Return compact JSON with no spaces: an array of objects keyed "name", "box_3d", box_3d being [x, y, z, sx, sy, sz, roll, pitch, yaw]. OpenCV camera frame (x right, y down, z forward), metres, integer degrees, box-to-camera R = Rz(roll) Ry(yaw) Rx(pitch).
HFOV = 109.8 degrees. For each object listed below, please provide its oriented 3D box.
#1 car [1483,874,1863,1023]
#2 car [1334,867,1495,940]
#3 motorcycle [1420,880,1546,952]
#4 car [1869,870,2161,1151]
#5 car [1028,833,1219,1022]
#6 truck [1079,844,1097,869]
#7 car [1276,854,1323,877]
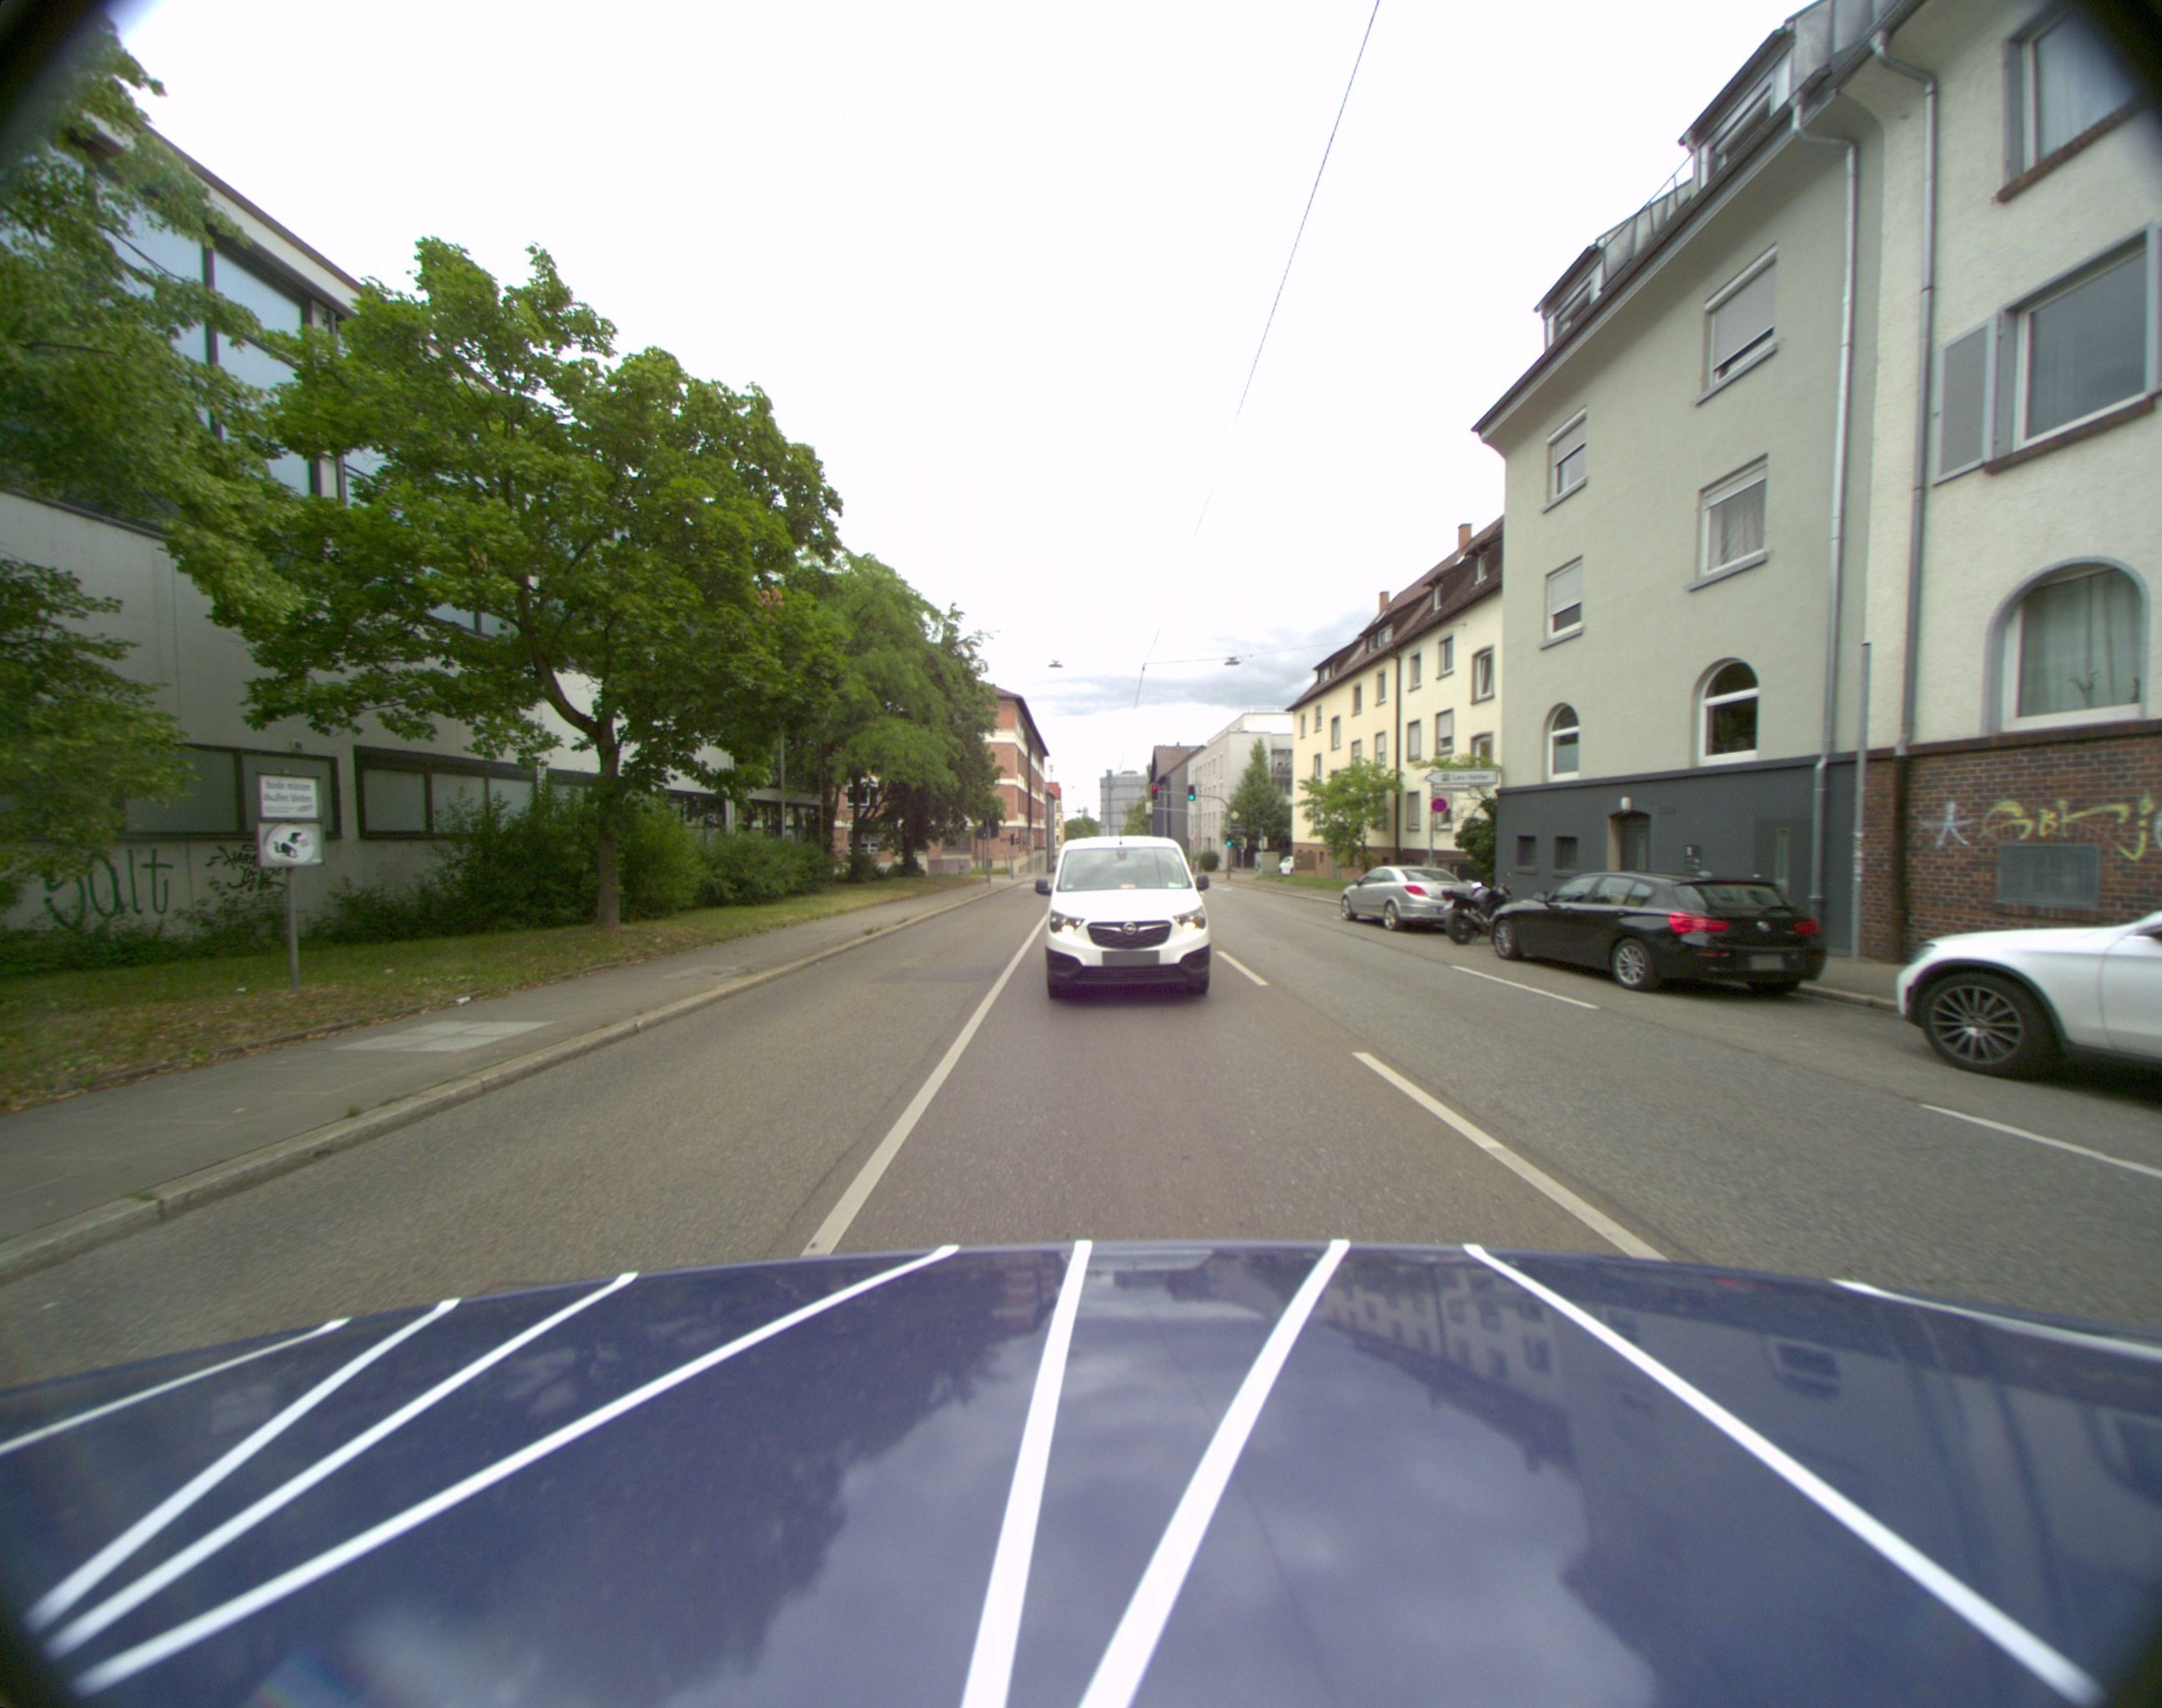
[{"name":"car","box_3d":[7.235,1.035,9.963,1.731,1.421,4.191,0,0,0]},{"name":"car","box_3d":[7.351,1.018,17.276,1.731,1.366,4.337,0,0,-1]},{"name":"motorcycle","box_3d":[7.393,1.134,14.002,2.048,1.228,0.806,2,0,-17]},{"name":"car","box_3d":[7.269,0.938,3.786,1.850,1.612,4.643,0,0,0]},{"name":"car","box_3d":[0.460,0.770,9.649,1.850,1.831,4.284,-1,-1,1]},{"name":"truck","box_3d":[1.095,0.398,111.075,2.545,3.478,8.521,0,0,1]},{"name":"car","box_3d":[15.294,0.815,53.409,1.819,1.527,4.260,2,-1,-4]}]
